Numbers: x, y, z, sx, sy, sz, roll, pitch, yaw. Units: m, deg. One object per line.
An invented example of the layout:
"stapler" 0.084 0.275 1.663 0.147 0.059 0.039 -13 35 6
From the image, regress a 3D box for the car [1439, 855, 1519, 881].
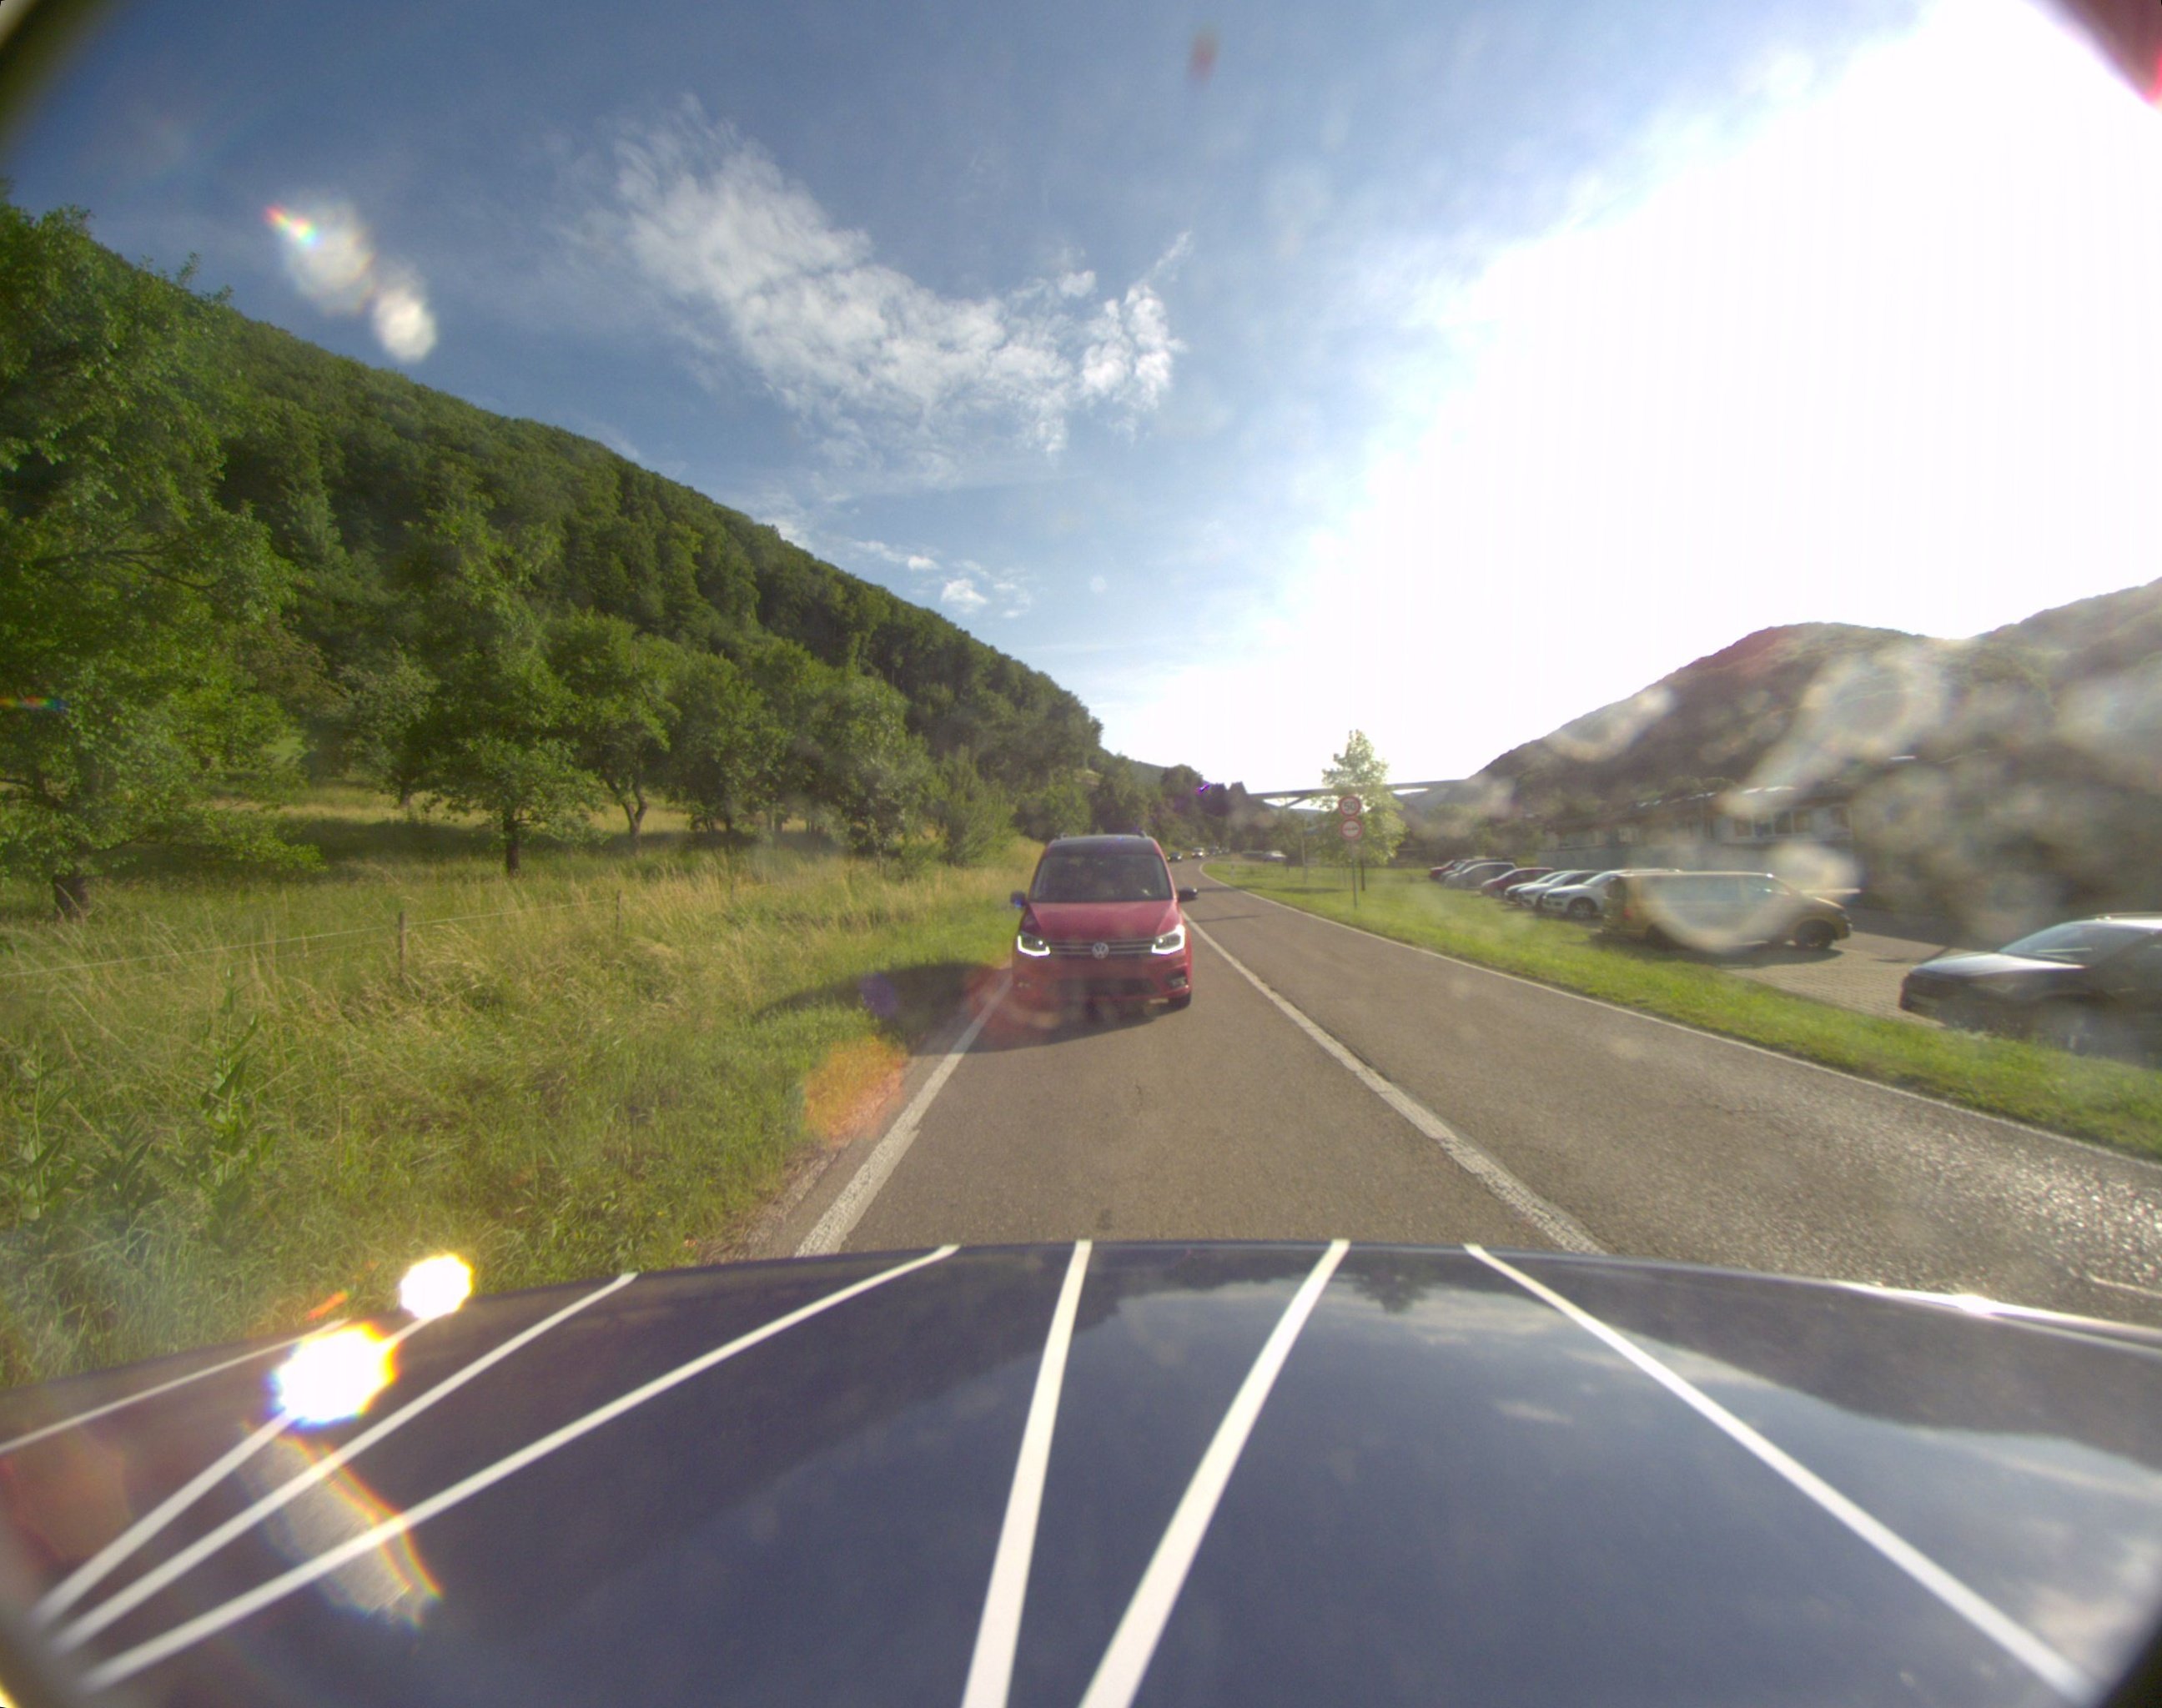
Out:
"car" 27.589 0.961 52.862 4.665 1.752 2.003 -1 0 18

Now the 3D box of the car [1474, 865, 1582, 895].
"car" 22.692 1.331 38.751 4.437 1.443 2.003 -1 0 20

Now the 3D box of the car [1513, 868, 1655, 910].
"car" 20.191 1.389 30.721 4.437 1.577 2.003 -1 0 20

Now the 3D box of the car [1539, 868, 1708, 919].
"car" 19.317 1.384 27.323 4.545 1.691 2.003 -1 0 20

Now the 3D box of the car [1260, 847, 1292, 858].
"car" 27.810 -0.264 108.336 4.782 1.518 1.995 -1 0 -39

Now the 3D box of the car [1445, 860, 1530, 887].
"car" 25.793 1.218 48.399 4.437 1.573 2.003 -2 0 18

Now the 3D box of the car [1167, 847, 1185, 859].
"car" 13.141 -0.135 105.121 1.911 1.675 4.005 -2 -1 14

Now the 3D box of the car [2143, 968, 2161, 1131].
"car" 12.012 1.786 5.637 4.645 1.488 1.915 -1 0 15

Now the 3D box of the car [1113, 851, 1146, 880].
"car" 2.760 0.651 43.199 1.692 1.539 4.001 -2 0 4

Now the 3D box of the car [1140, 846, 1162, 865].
"car" 7.212 0.150 78.392 1.997 1.838 4.003 -2 0 8

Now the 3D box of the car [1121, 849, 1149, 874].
"car" 4.003 0.537 55.829 1.901 1.717 4.002 -2 0 5

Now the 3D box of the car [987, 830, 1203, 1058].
"car" 0.144 0.771 8.518 1.747 1.849 4.348 -2 0 1

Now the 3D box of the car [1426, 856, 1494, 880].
"car" 28.877 1.061 58.036 4.437 1.709 2.003 -1 0 18

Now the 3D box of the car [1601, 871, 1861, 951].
"car" 16.365 1.391 19.474 4.653 1.802 2.003 -1 0 20

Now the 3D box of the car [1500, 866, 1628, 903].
"car" 21.400 1.343 33.876 4.437 1.573 2.003 -1 0 18

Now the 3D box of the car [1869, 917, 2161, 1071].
"car" 13.517 1.726 9.773 4.289 1.628 1.915 -3 0 15

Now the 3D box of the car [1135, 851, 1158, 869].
"car" 5.768 0.515 66.748 1.798 1.464 4.286 -2 0 7

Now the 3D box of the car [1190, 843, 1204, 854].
"car" 20.215 -0.950 131.880 1.796 1.725 4.289 -2 0 16

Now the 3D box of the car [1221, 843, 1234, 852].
"car" 31.701 -1.406 164.642 1.996 1.706 4.006 -3 -1 20

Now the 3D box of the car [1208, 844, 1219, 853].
"car" 26.229 -1.088 150.126 1.676 1.637 3.350 -2 0 18
